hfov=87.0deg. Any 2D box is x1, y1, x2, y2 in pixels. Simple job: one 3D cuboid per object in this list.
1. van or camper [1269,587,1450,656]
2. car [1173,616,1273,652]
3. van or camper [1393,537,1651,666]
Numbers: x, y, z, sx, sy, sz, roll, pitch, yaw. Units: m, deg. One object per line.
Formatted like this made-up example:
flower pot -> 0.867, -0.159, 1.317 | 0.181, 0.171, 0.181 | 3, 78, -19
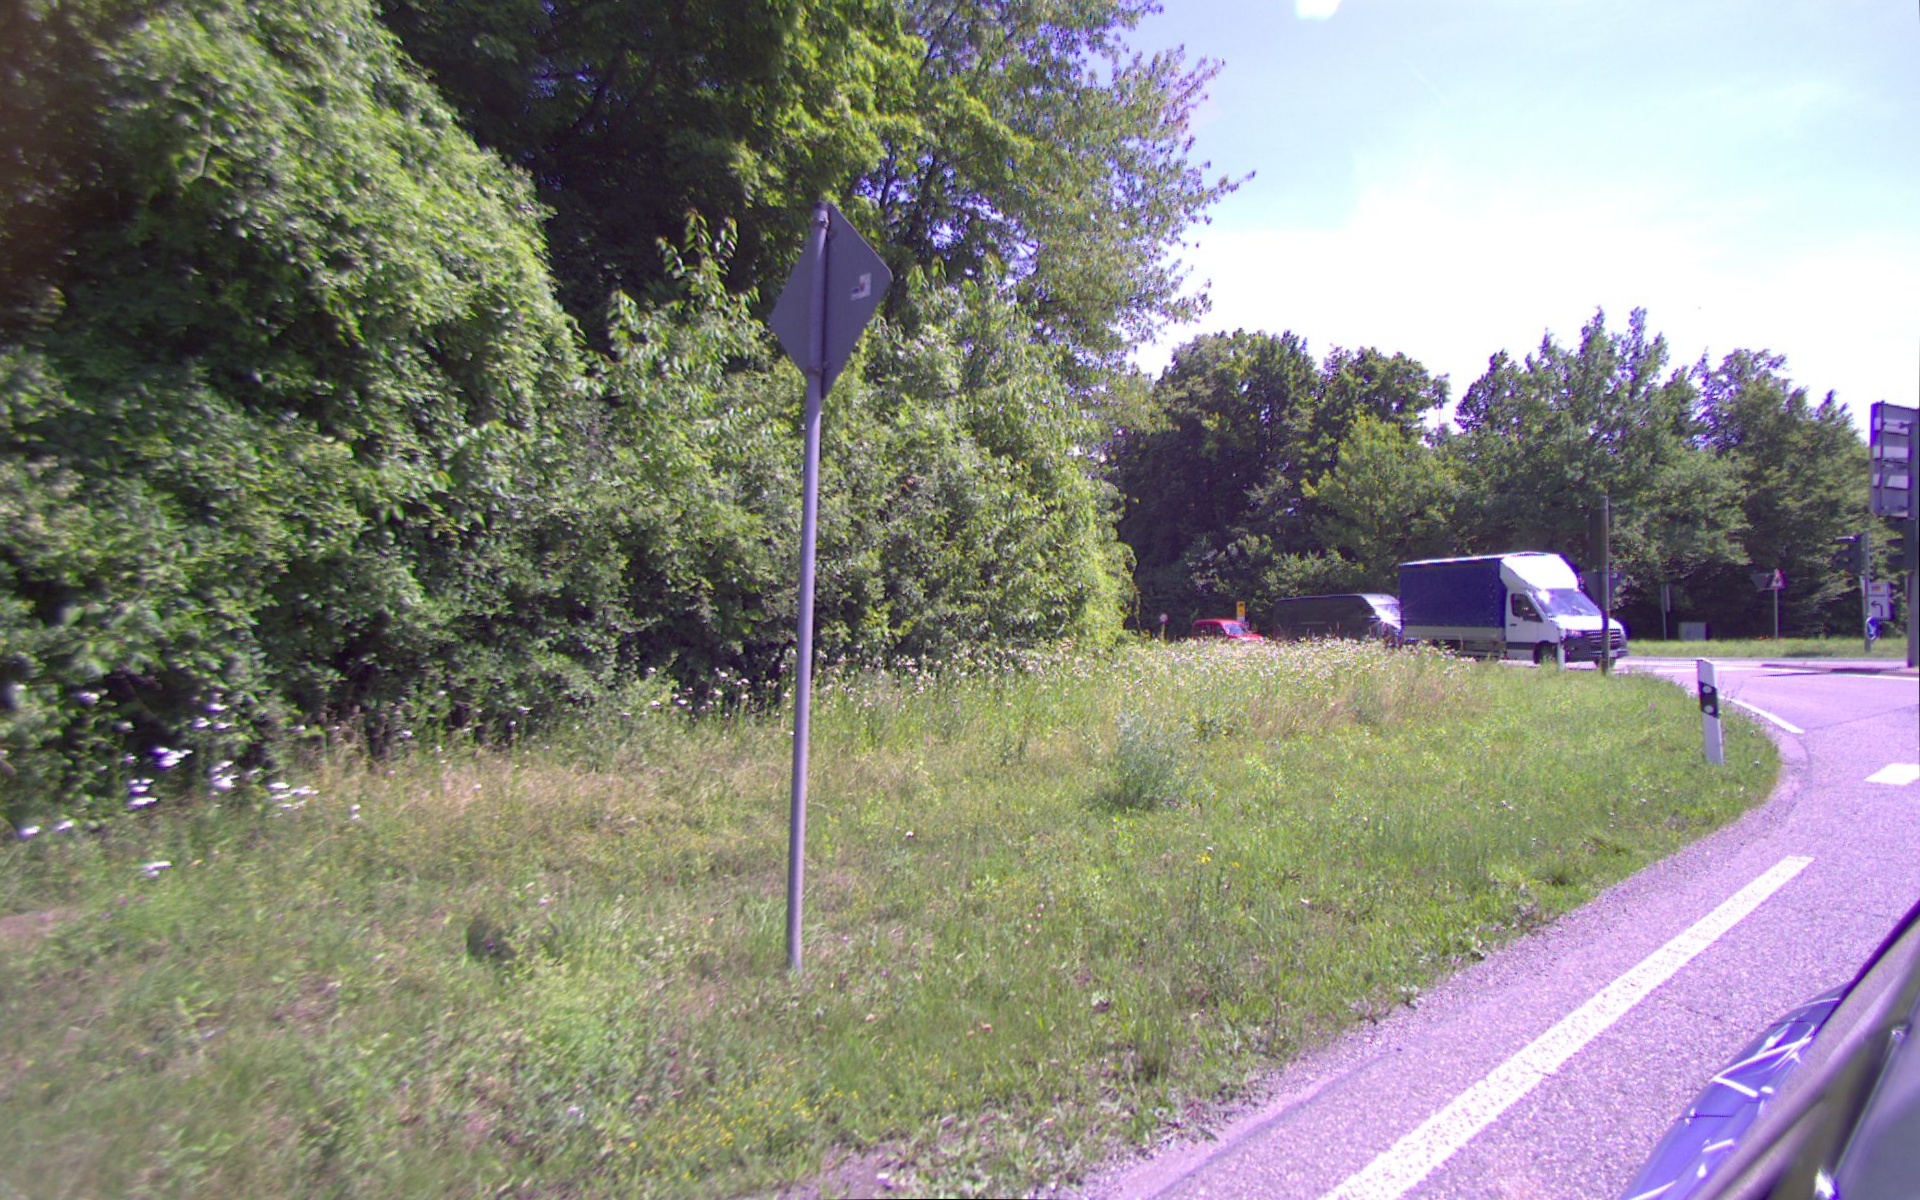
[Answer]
van or camper -> 15.896, 0.926, 40.940 | 2.359, 2.509, 7.246 | 0, -2, -23
car -> 12.583, 1.606, 48.814 | 1.811, 1.628, 5.129 | -1, -1, -24
van or camper -> 15.824, 0.090, 29.245 | 2.060, 3.253, 7.266 | -1, -1, -13
